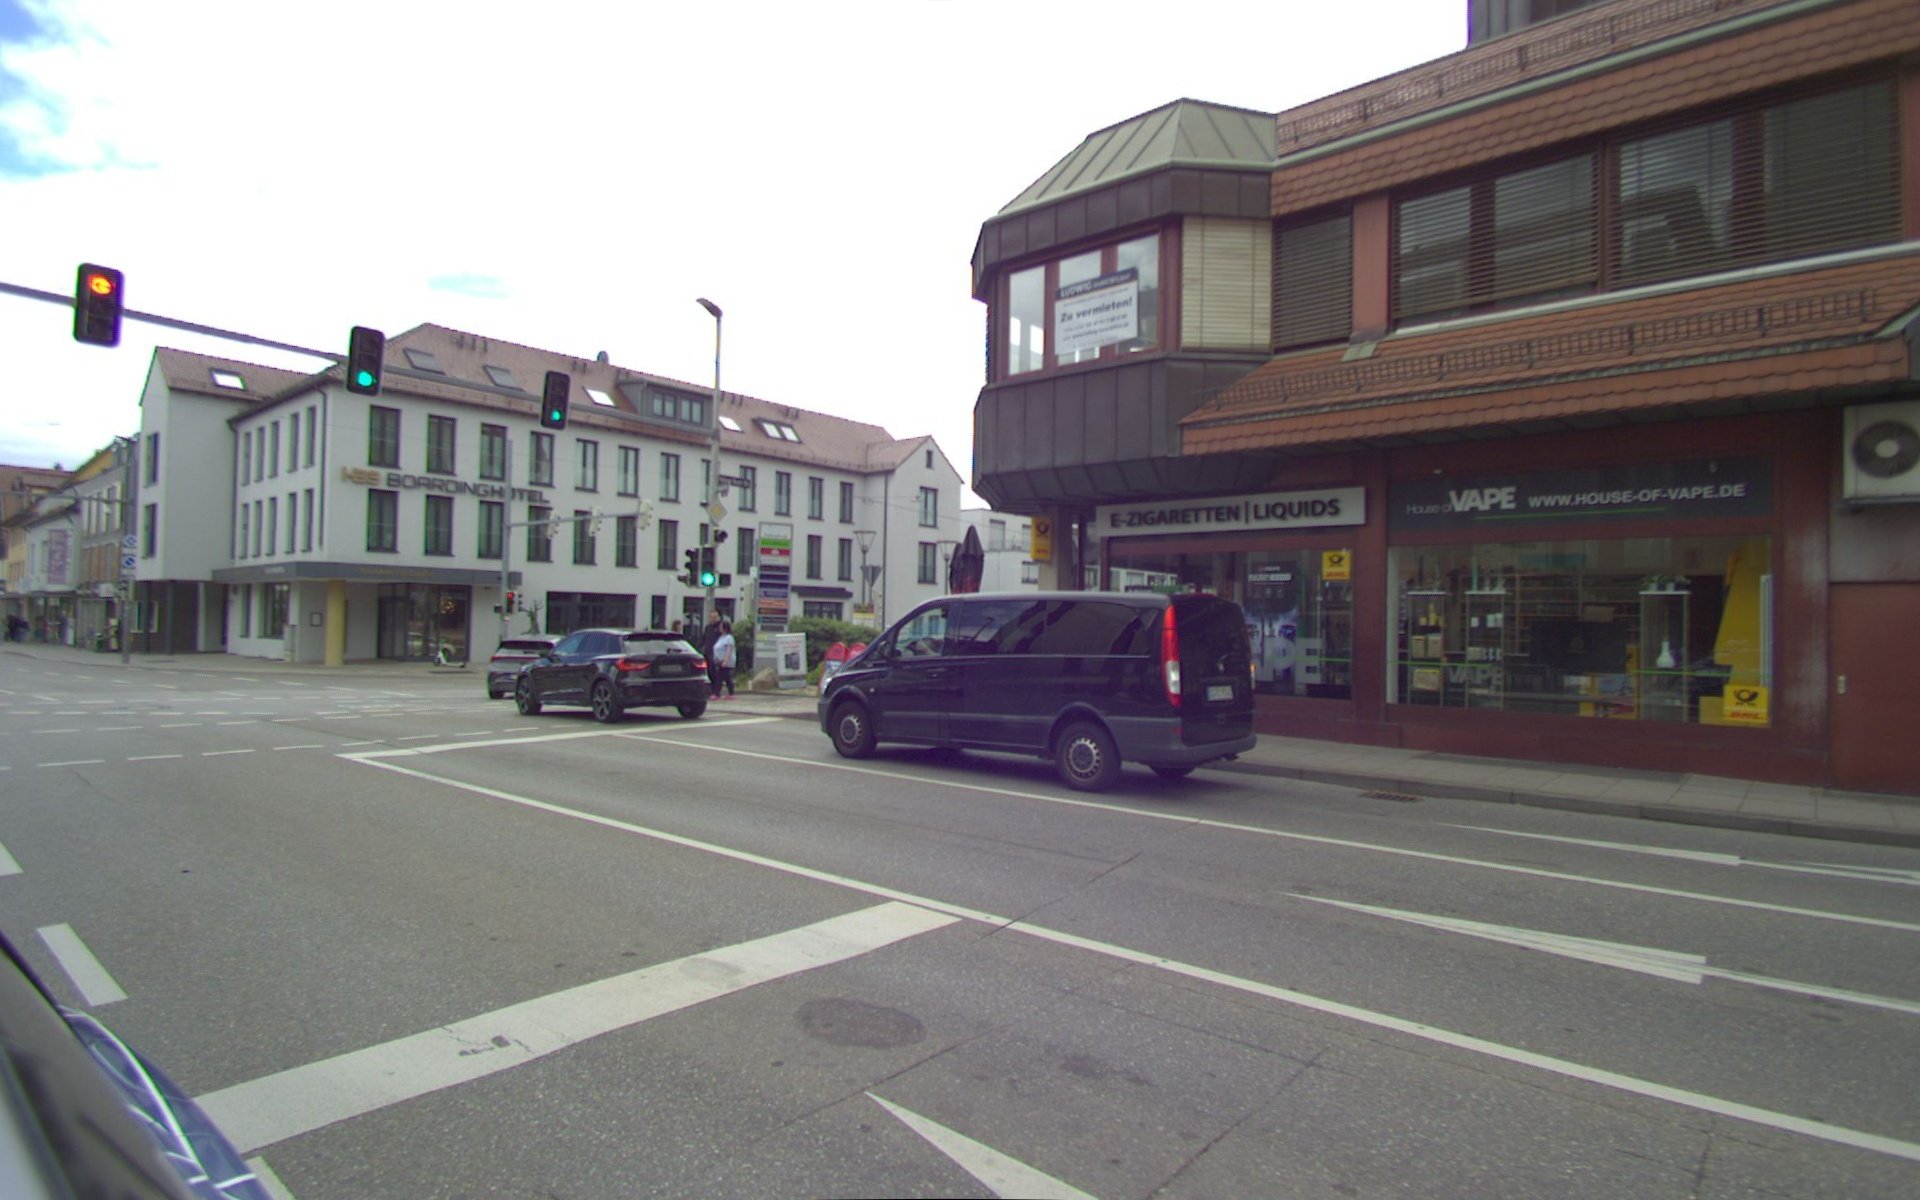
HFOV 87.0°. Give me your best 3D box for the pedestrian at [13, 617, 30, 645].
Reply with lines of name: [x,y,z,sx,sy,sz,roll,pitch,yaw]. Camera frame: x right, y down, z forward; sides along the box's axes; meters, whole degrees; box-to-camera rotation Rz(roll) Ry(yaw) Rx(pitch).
pedestrian: [-60.096,1.994,64.787,0.870,1.795,0.699,-1,-3,42]

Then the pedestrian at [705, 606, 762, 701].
pedestrian: [-4.494,1.045,20.107,0.773,1.822,0.803,-1,-2,33]

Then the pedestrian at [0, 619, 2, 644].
pedestrian: [-60.573,1.963,63.349,0.920,1.595,0.801,-1,-2,42]

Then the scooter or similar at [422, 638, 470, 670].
scooter or similar: [-19.904,2.081,39.205,1.552,1.167,0.426,3,-2,0]

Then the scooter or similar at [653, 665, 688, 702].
scooter or similar: [-5.917,1.698,20.686,0.537,0.732,0.450,-1,-2,33]

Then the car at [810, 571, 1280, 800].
car: [0.706,0.797,10.851,4.897,1.924,1.846,-1,-3,42]

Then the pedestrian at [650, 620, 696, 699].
pedestrian: [-6.413,1.326,22.622,0.799,1.727,0.704,1,-3,-37]

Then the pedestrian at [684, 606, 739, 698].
pedestrian: [-5.075,1.052,20.691,0.744,1.822,0.803,-1,-2,33]

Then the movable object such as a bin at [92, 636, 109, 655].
movable object such as a bin: [-41.820,2.225,49.249,0.506,0.906,0.545,-1,-2,39]

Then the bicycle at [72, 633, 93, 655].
bicycle: [-44.976,2.232,51.848,1.902,1.109,0.566,-1,-2,42]

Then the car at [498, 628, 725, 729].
car: [-5.796,1.194,16.632,3.996,1.454,1.685,-1,-2,39]

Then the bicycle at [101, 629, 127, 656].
bicycle: [-39.797,2.003,47.611,2.118,1.241,0.576,-1,-2,40]

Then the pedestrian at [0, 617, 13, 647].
pedestrian: [-60.660,2.030,64.244,1.028,1.853,0.699,-1,-3,43]

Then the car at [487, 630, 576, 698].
car: [-10.537,1.563,25.138,1.734,1.529,4.400,2,-3,-20]
